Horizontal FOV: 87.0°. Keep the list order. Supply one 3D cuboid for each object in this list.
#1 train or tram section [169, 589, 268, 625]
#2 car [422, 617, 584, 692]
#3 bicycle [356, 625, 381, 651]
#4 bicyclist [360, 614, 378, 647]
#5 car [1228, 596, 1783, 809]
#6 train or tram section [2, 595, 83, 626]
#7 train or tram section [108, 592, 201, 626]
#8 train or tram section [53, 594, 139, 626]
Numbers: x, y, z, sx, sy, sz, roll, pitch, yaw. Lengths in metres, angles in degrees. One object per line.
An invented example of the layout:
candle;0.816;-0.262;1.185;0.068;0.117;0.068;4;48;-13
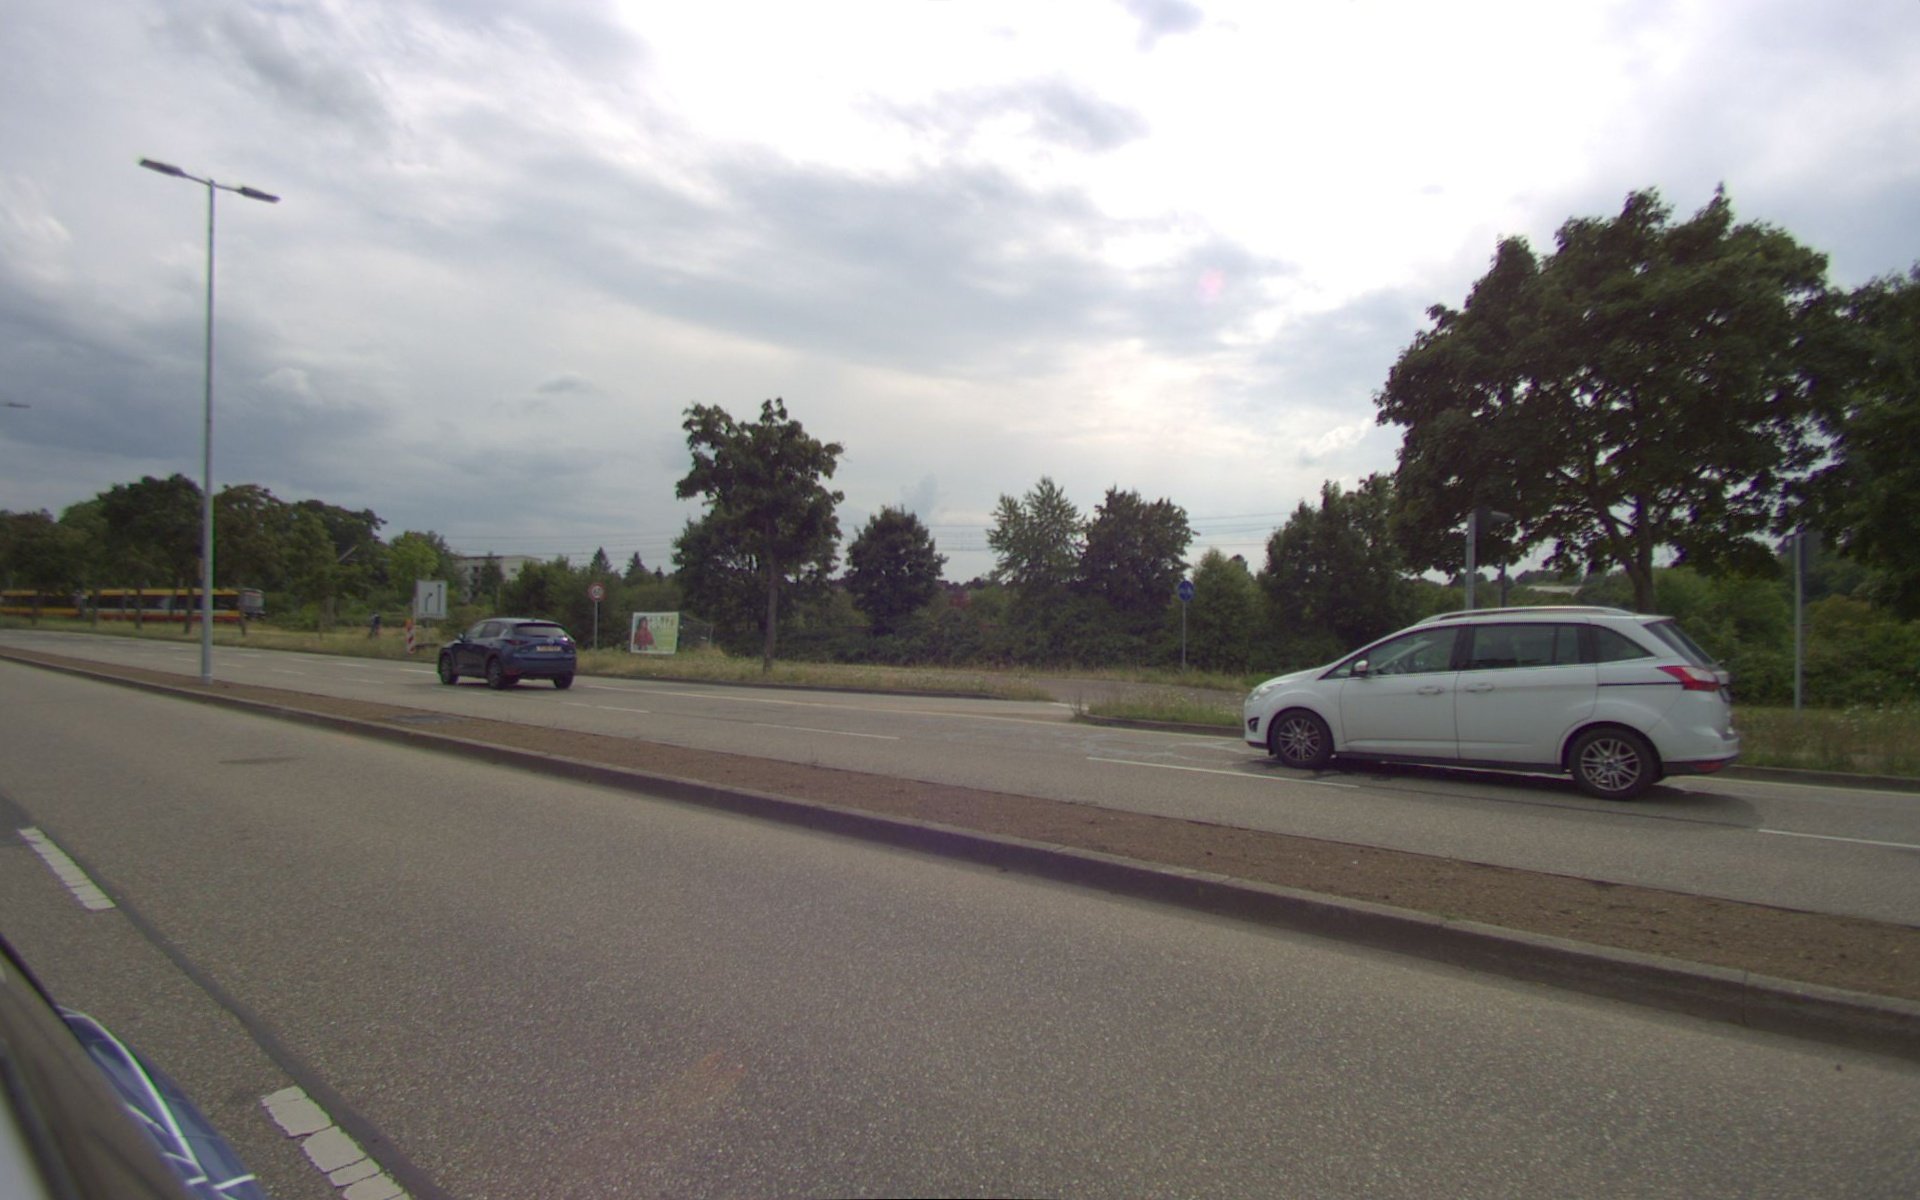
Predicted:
train or tram section;-74.167;0.749;101.161;11.884;3.447;2.897;-1;0;26
car;-11.170;1.264;24.618;4.562;1.666;1.828;-1;-3;41
bicycle;-33.312;2.139;56.958;2.166;1.433;0.530;-1;-3;41
bicyclist;-33.237;1.725;56.925;0.818;1.846;0.637;-1;-3;41
car;5.228;0.877;10.141;4.636;1.666;1.750;-1;-3;41
train or tram section;-106.305;1.220;117.186;11.885;3.447;2.896;-1;0;27
train or tram section;-84.828;1.000;106.495;11.882;3.447;2.897;-1;0;26
train or tram section;-95.558;1.110;111.823;11.885;3.447;2.896;-1;0;27
